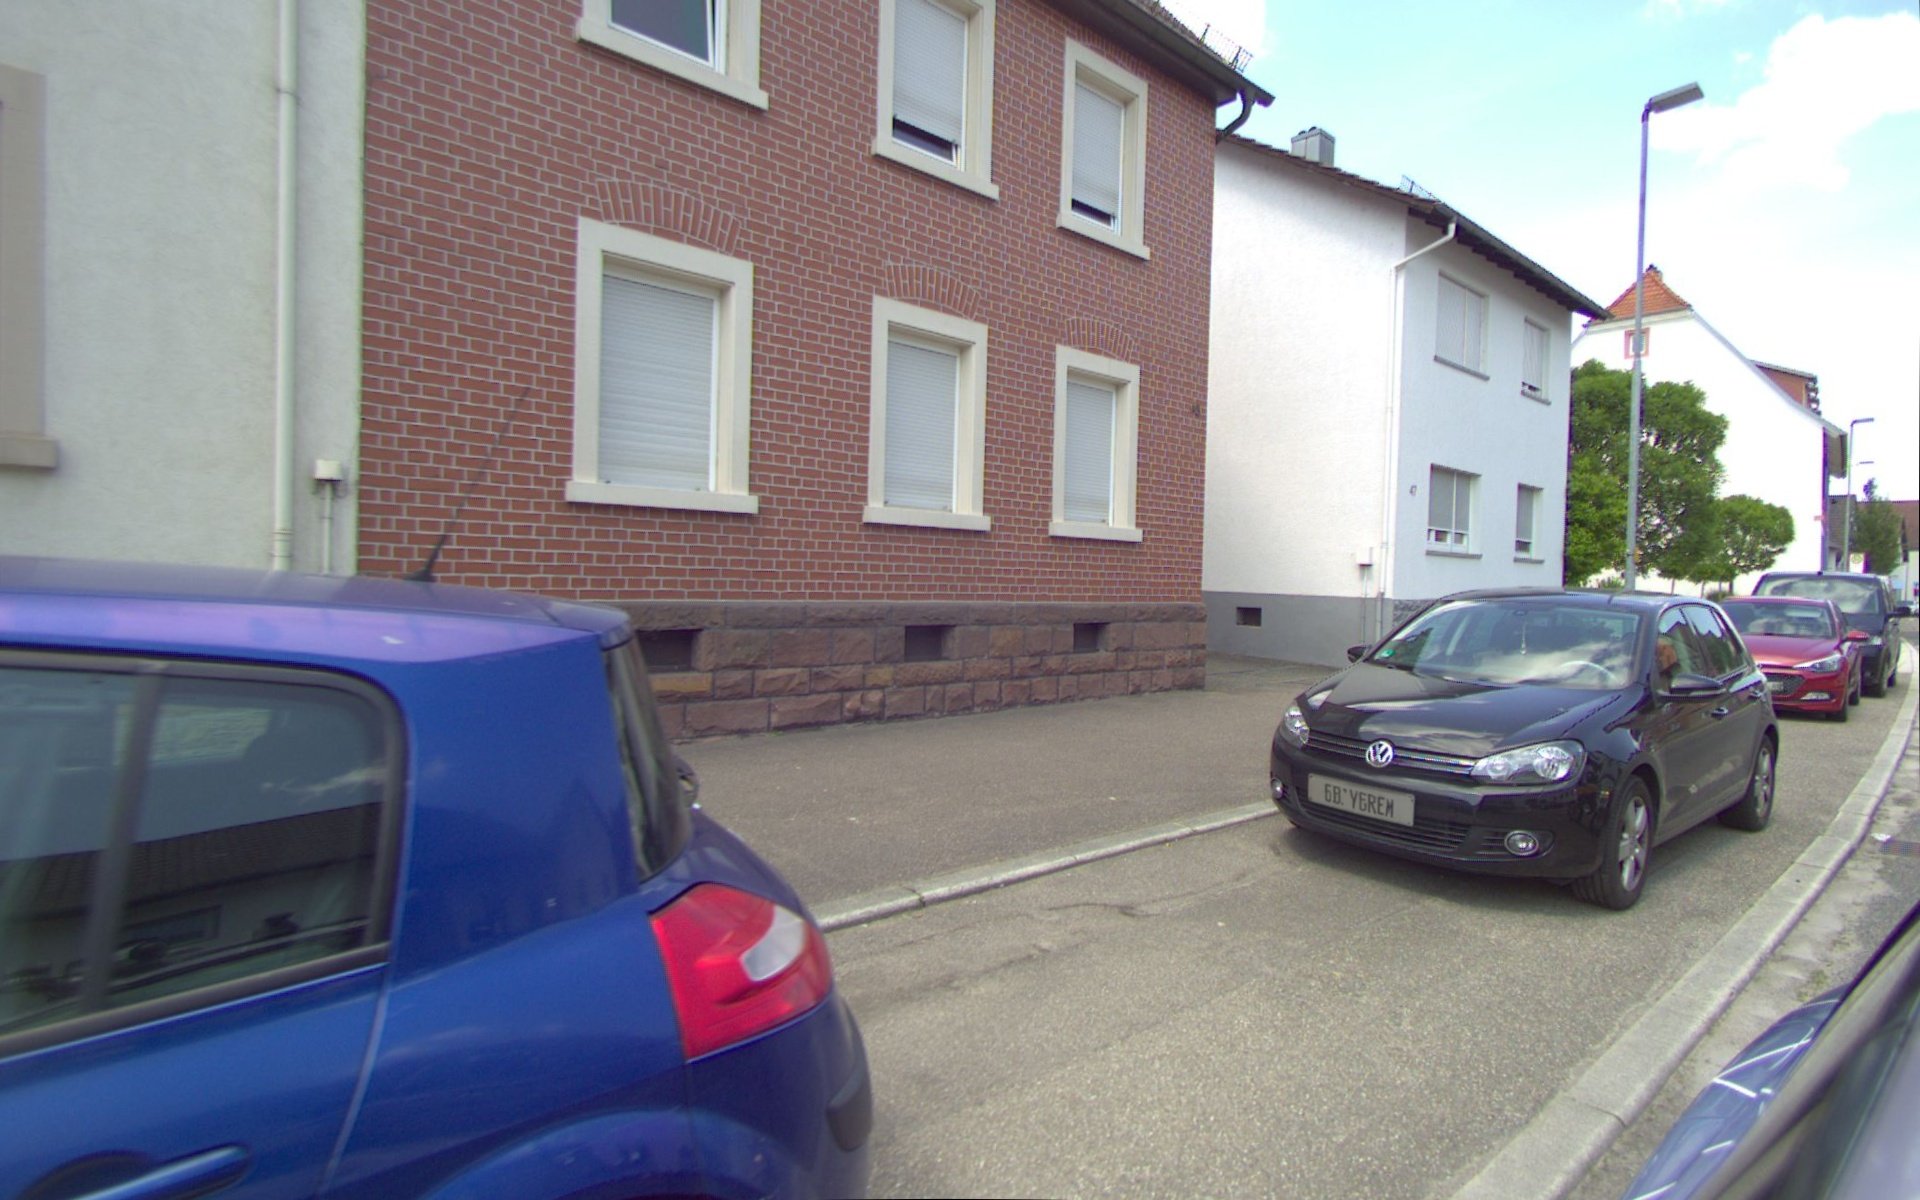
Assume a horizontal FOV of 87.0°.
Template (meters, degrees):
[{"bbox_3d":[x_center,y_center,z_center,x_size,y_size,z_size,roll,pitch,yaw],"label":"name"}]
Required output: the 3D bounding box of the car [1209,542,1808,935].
[{"bbox_3d":[3.401,0.588,5.942,3.929,1.549,1.772,3,0,-41],"label":"car"}]

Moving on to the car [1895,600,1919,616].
[{"bbox_3d":[91.169,0.731,96.987,3.933,1.369,1.996,-1,1,-43],"label":"car"}]

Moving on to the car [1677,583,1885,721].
[{"bbox_3d":[11.167,0.571,13.640,1.740,1.522,4.485,2,2,44],"label":"car"}]

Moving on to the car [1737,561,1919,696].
[{"bbox_3d":[14.772,0.355,17.004,5.159,1.939,1.927,-1,1,-43],"label":"car"}]

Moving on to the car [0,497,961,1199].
[{"bbox_3d":[-2.046,0.593,1.001,3.930,1.402,1.726,-1,3,-41],"label":"car"}]
